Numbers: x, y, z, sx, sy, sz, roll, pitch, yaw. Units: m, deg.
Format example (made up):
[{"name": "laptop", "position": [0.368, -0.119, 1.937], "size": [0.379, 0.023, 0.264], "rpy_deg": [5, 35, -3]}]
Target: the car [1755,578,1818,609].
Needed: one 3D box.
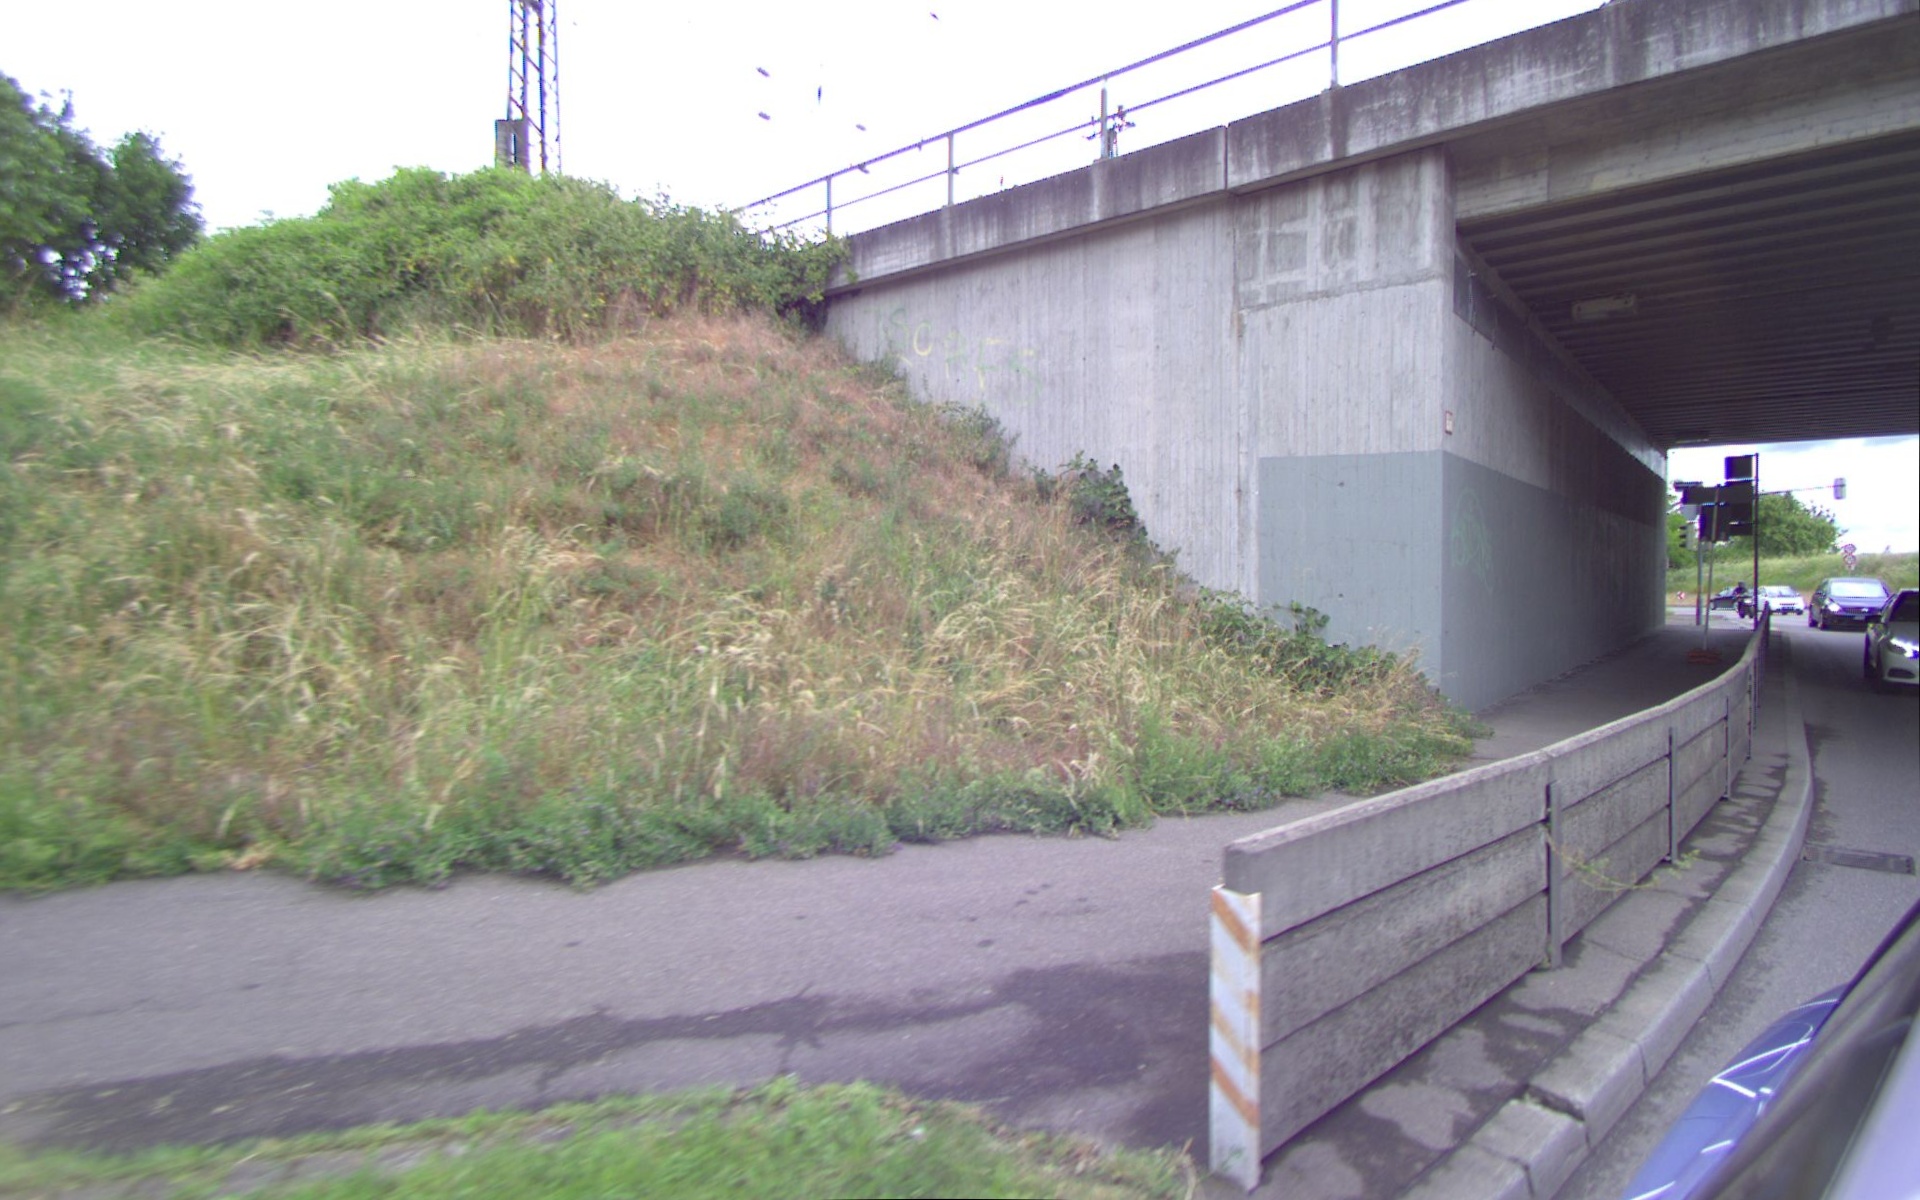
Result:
[{"name": "car", "position": [43.194, -0.317, 52.949], "size": [1.560, 1.577, 2.998], "rpy_deg": [-1, 0, 19]}]

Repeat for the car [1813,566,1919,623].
[{"name": "car", "position": [26.801, -0.146, 30.019], "size": [1.811, 1.564, 3.681], "rpy_deg": [-1, 0, 33]}]

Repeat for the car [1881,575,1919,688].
[{"name": "car", "position": [14.412, 0.387, 14.293], "size": [3.936, 1.440, 1.884], "rpy_deg": [-2, 2, -45]}]
